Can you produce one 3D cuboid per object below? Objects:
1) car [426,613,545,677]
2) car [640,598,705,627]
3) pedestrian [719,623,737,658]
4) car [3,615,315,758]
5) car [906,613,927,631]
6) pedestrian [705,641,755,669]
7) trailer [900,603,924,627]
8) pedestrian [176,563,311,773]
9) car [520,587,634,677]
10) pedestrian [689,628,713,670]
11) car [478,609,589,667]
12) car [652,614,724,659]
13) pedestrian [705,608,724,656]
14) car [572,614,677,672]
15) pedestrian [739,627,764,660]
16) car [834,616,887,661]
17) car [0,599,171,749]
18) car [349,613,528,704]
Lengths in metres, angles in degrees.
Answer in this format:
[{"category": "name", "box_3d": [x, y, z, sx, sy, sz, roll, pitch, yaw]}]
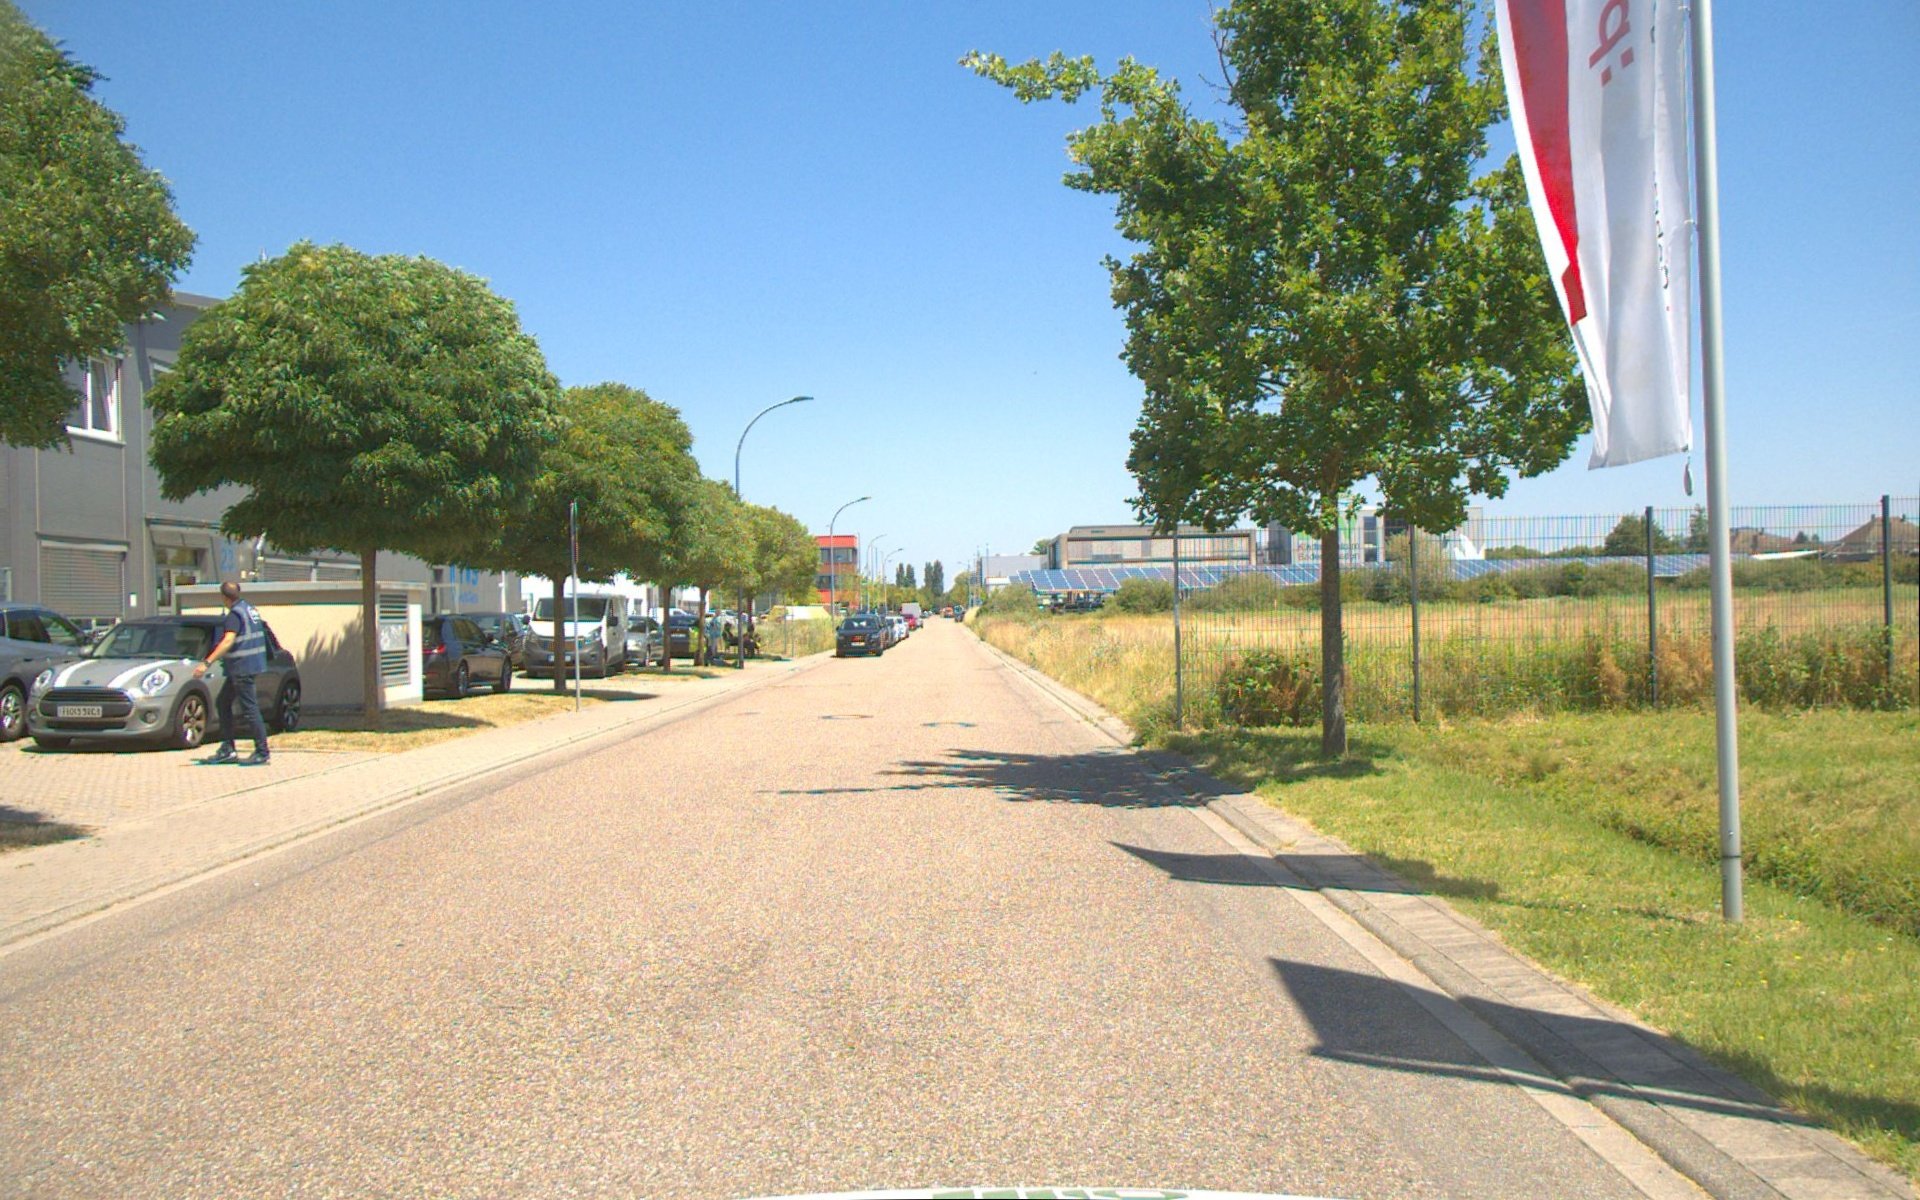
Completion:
[{"category": "car", "box_3d": [-11.761, 1.087, 41.281, 1.888, 1.466, 4.085, 1, 0, -2]}, {"category": "car", "box_3d": [-21.749, 0.932, 125.228, 4.436, 1.977, 2.031, -2, -1, 0]}, {"category": "pedestrian", "box_3d": [-8.168, 1.417, 58.283, 0.495, 1.212, 0.753, 1, -1, 2]}, {"category": "car", "box_3d": [-9.141, 0.921, 19.244, 1.729, 1.479, 3.840, 0, 0, 0]}, {"category": "car", "box_3d": [-3.852, 1.933, 147.466, 1.750, 1.547, 3.981, -2, -1, -1]}, {"category": "pedestrian", "box_3d": [-6.657, 1.598, 47.922, 1.330, 0.762, 0.753, 1, -1, 1]}, {"category": "trailer", "box_3d": [-4.637, 1.463, 158.825, 2.156, 2.175, 4.284, -2, -1, -1]}, {"category": "pedestrian", "box_3d": [-7.099, 0.651, 16.398, 0.827, 2.007, 0.960, 0, -1, 39]}, {"category": "car", "box_3d": [-9.270, 0.752, 40.412, 1.800, 2.054, 5.123, 0, 0, -3]}, {"category": "pedestrian", "box_3d": [-7.307, 1.388, 46.712, 0.468, 1.170, 0.555, 1, -3, 9]}, {"category": "car", "box_3d": [-11.823, 1.026, 46.159, 1.887, 1.490, 4.465, 1, 0, 0]}, {"category": "car", "box_3d": [-9.573, 1.247, 58.481, 1.888, 1.490, 4.690, 1, 0, -2]}, {"category": "pedestrian", "box_3d": [-8.421, 1.092, 56.807, 0.495, 1.623, 0.753, 1, -1, 2]}, {"category": "car", "box_3d": [-9.284, 1.193, 46.113, 1.887, 1.466, 4.840, -2, -2, 0]}, {"category": "pedestrian", "box_3d": [-7.196, 1.502, 57.113, 0.735, 1.118, 0.647, 1, -1, 3]}, {"category": "car", "box_3d": [-3.877, 1.478, 64.829, 1.888, 1.595, 4.188, -2, 0, -2]}, {"category": "car", "box_3d": [-11.478, 0.828, 20.052, 1.699, 1.656, 4.348, 0, 0, 0]}, {"category": "car", "box_3d": [-9.195, 0.973, 29.552, 1.729, 1.479, 4.713, 0, 0, -1]}]
